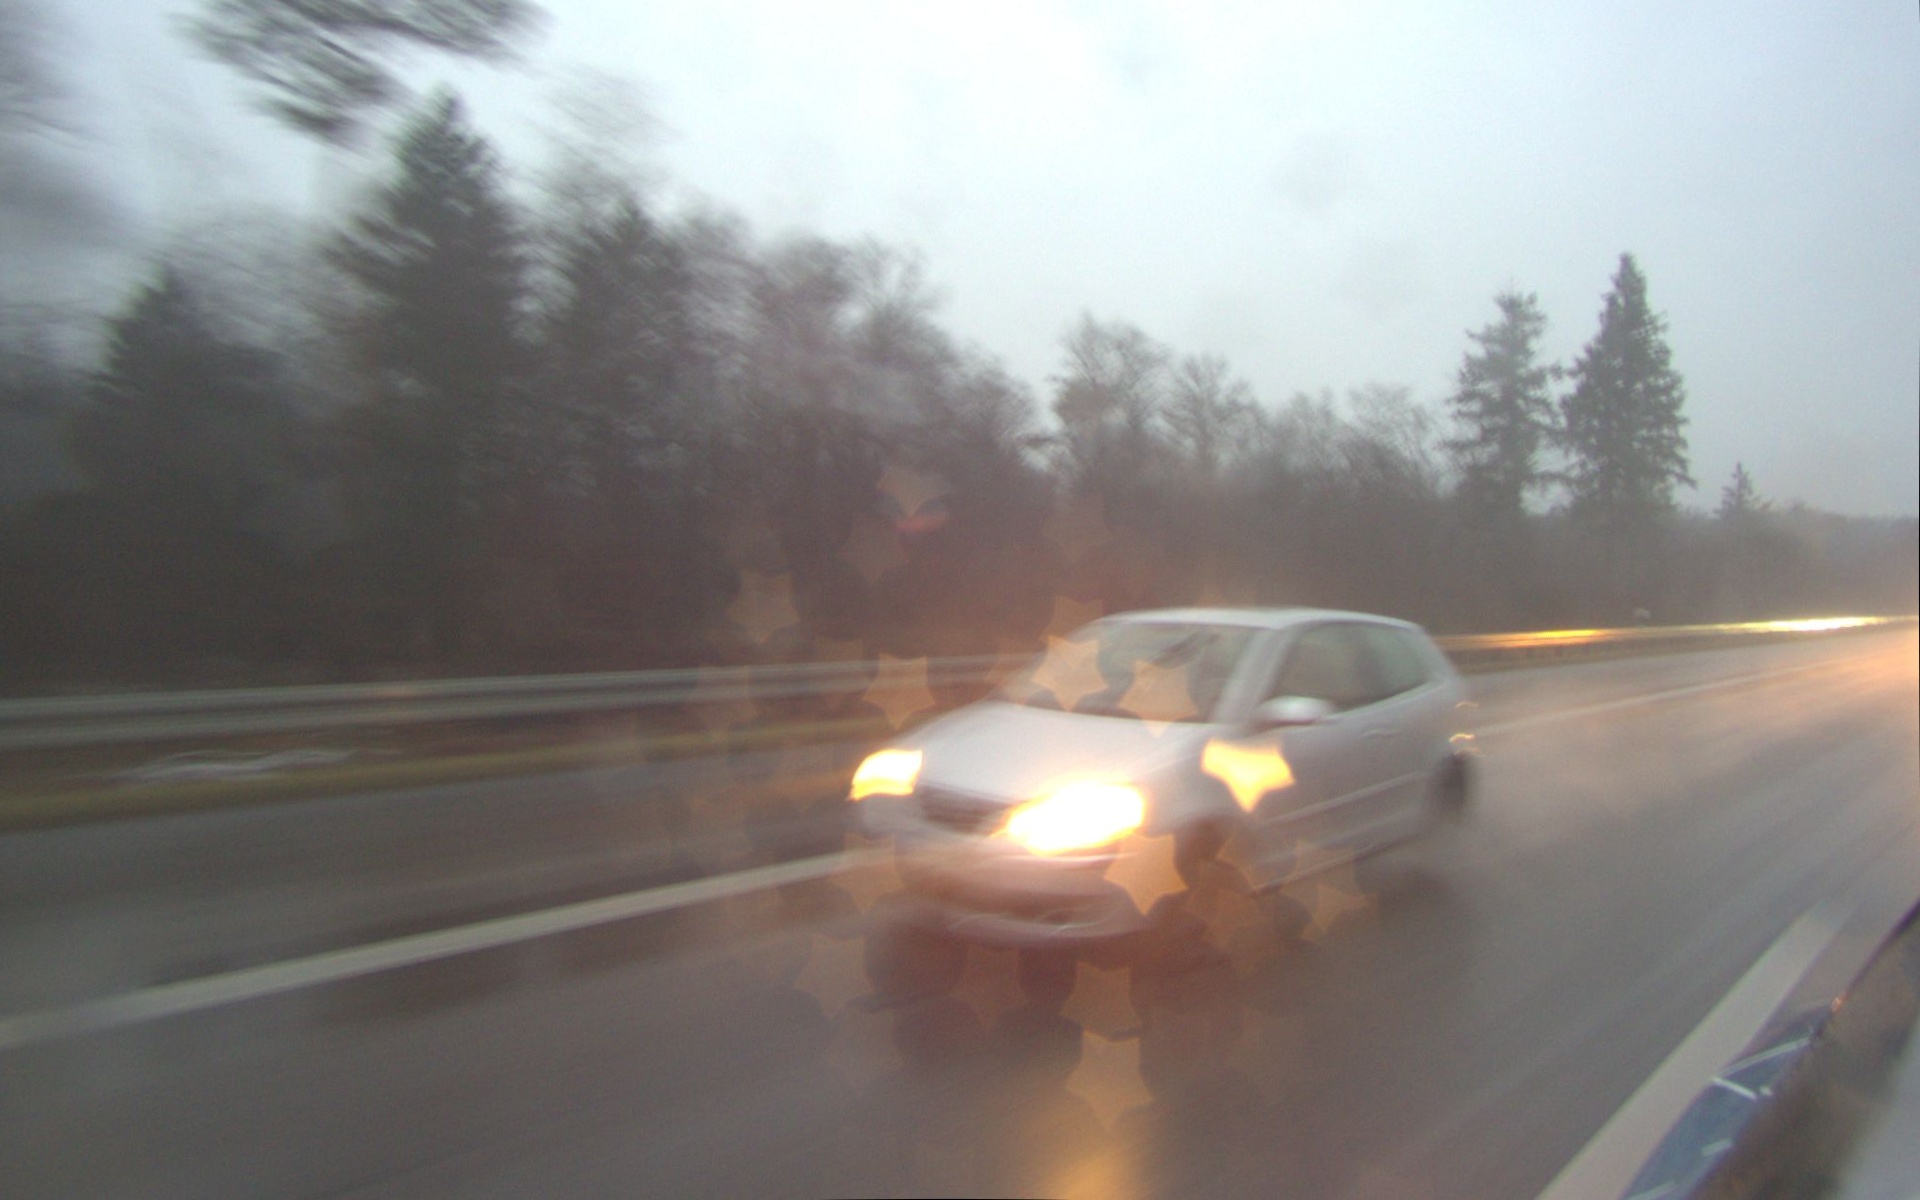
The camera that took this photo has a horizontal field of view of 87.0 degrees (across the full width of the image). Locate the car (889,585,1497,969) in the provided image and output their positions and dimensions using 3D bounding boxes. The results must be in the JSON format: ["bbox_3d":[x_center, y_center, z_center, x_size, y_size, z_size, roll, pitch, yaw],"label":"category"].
[{"bbox_3d":[1.387,0.626,5.354,3.249,1.383,1.601,0,0,-43],"label":"car"}]
